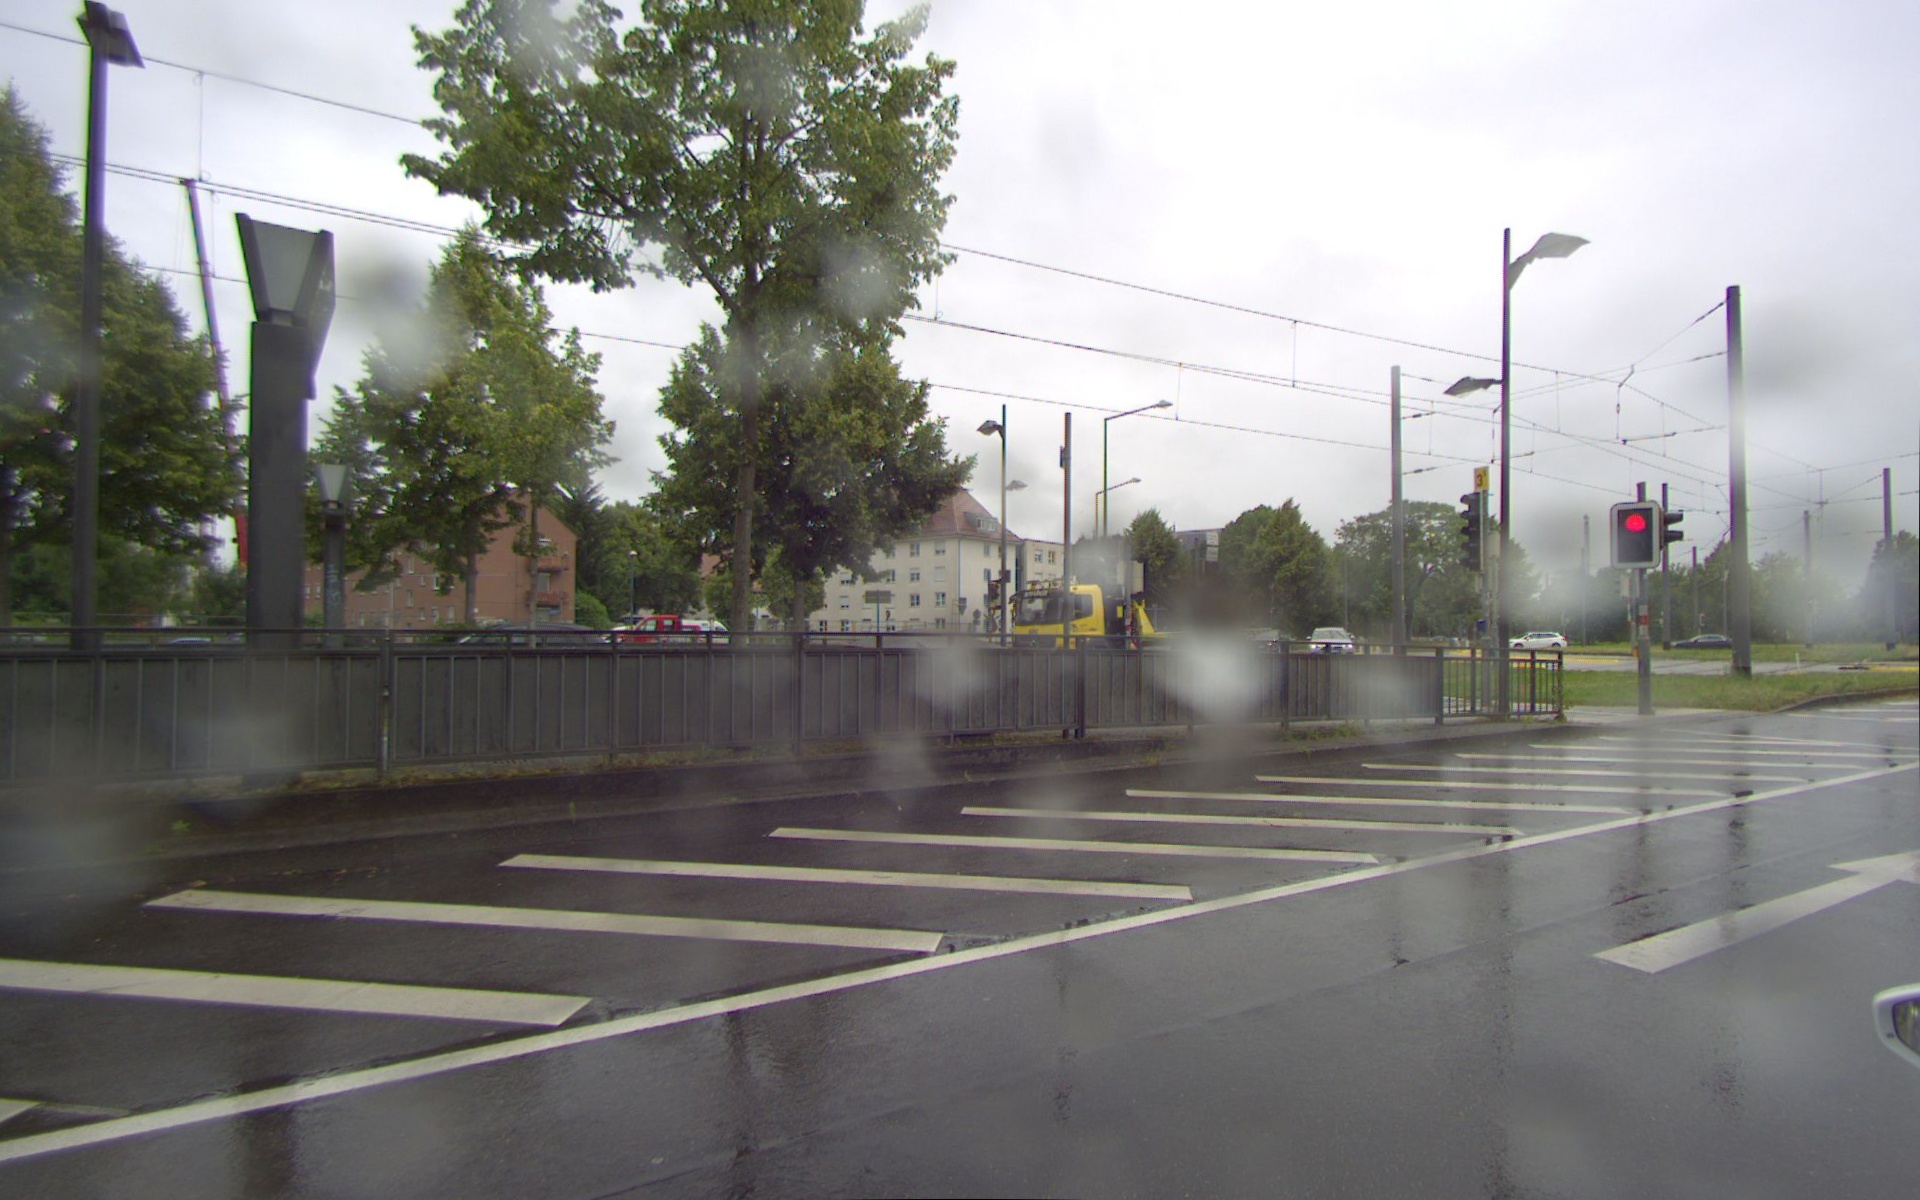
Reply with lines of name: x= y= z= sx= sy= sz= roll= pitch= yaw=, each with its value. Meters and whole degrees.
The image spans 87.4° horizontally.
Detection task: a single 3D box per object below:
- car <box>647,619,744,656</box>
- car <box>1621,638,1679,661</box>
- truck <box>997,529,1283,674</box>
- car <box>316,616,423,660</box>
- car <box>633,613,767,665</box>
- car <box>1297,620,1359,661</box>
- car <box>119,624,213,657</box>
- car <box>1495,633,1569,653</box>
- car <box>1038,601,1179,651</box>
car: x=-17.147 y=2.417 z=65.066 sx=6.005 sy=2.308 sz=1.617 roll=0 pitch=-1 yaw=-19
car: x=54.816 y=3.924 z=79.868 sx=3.413 sy=1.563 sz=1.623 roll=2 pitch=0 yaw=14
truck: x=5.598 y=0.160 z=30.068 sx=9.088 sy=3.828 sz=2.670 roll=2 pitch=0 yaw=-34
car: x=-36.087 y=2.321 z=61.426 sx=5.442 sy=2.485 sz=1.979 roll=2 pitch=0 yaw=-36
car: x=-13.009 y=1.925 z=50.405 sx=6.389 sy=2.503 sz=1.616 roll=1 pitch=-1 yaw=-21
car: x=15.749 y=1.721 z=43.194 sx=1.959 sy=1.649 sz=4.406 roll=0 pitch=-2 yaw=13
car: x=-48.197 y=2.447 z=61.097 sx=4.386 sy=1.902 sz=1.856 roll=2 pitch=0 yaw=-38
car: x=42.633 y=3.225 z=74.955 sx=4.530 sy=1.473 sz=1.624 roll=0 pitch=-1 yaw=3
car: x=11.623 y=2.076 z=78.773 sx=10.742 sy=3.769 sz=2.459 roll=-1 pitch=-2 yaw=15
